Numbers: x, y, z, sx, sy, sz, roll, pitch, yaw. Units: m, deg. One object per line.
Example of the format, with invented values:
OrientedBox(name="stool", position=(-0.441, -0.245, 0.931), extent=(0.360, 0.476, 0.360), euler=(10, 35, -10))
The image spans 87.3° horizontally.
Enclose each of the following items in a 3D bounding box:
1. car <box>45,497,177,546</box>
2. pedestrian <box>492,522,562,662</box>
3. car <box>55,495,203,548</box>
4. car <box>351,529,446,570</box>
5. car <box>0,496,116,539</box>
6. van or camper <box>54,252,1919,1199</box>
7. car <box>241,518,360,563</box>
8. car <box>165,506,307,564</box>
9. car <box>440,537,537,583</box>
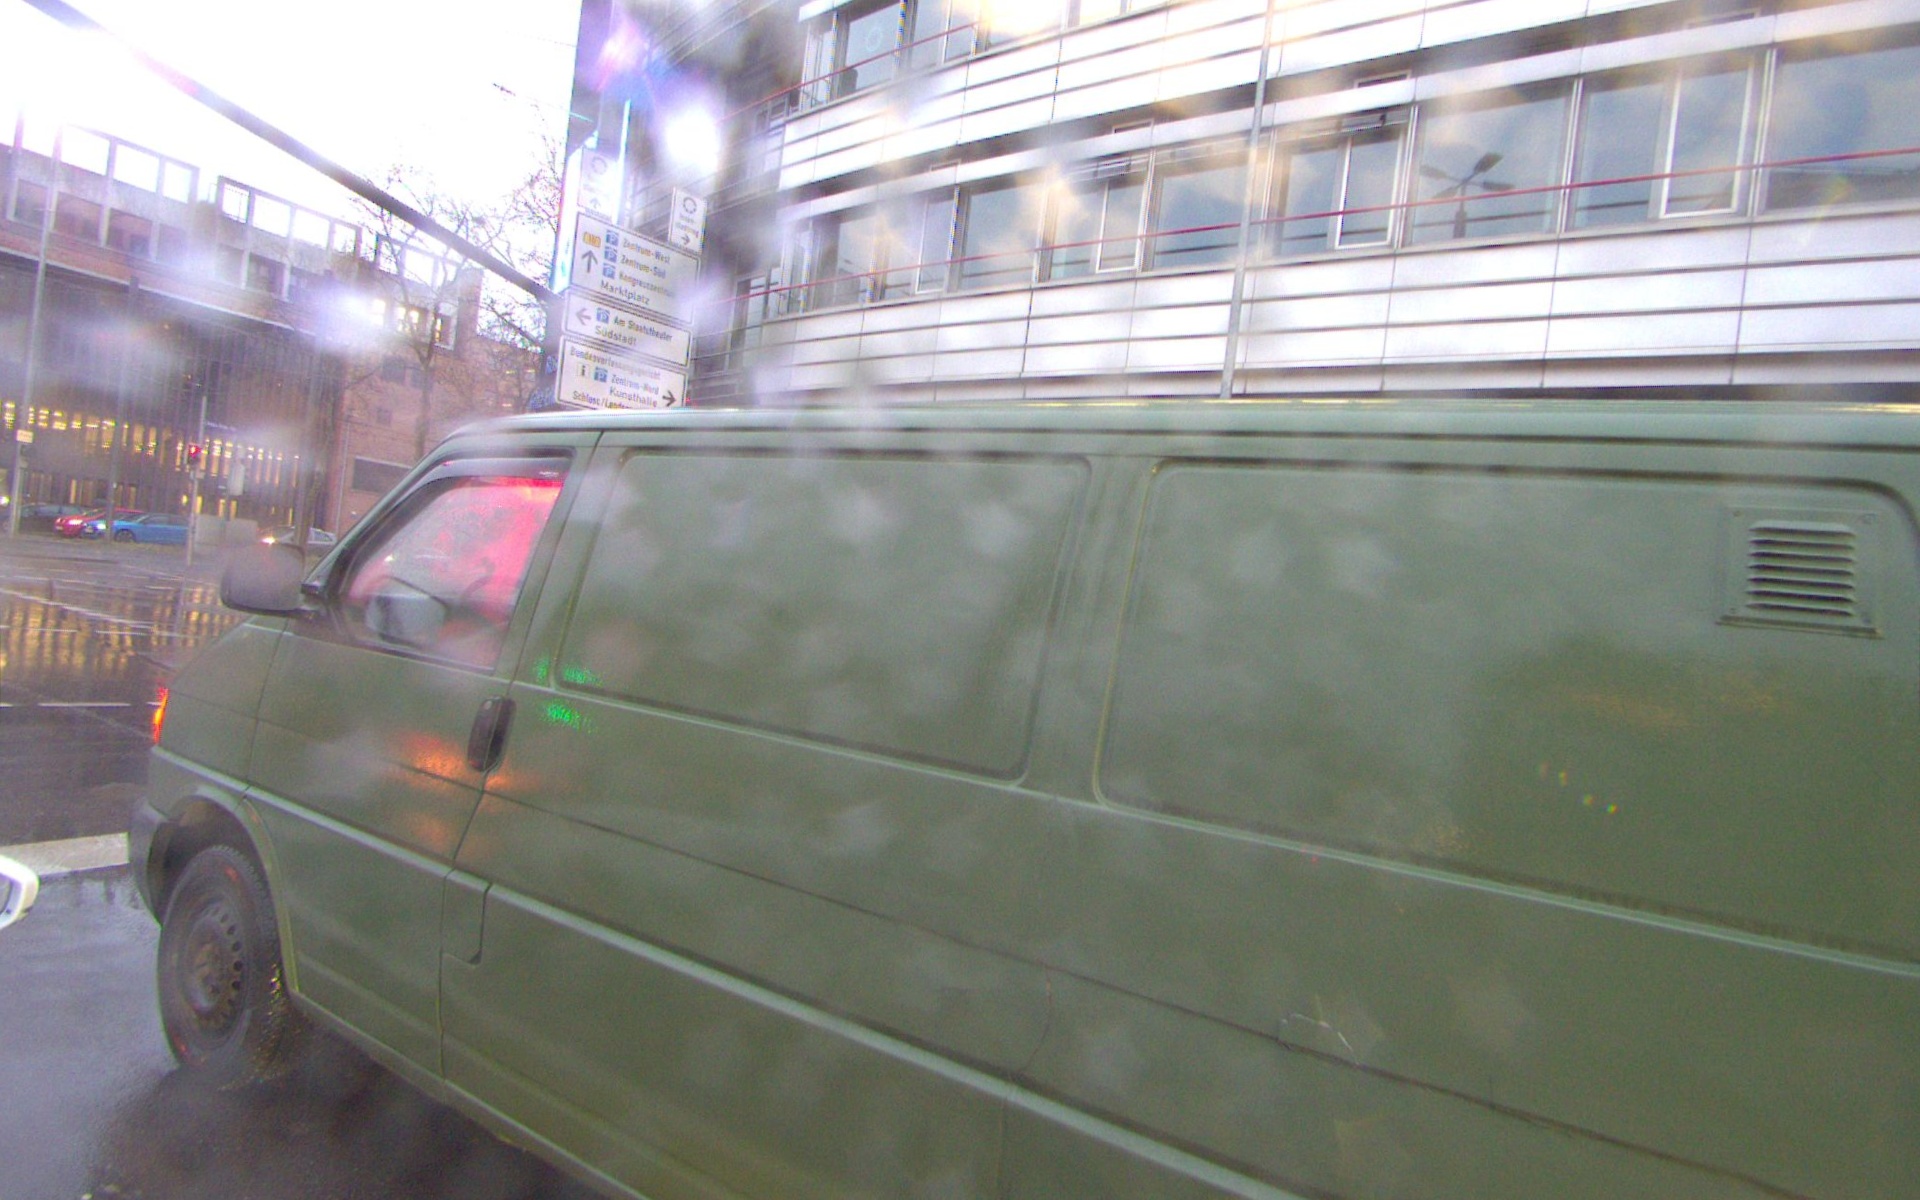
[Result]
OrientedBox(name="car", position=(-35.472, -3.250, 42.108), extent=(1.814, 1.278, 3.729), euler=(11, 1, 26))
OrientedBox(name="pedestrian", position=(-7.103, -0.125, 16.508), extent=(0.609, 2.210, 0.576), euler=(6, 0, 26))
OrientedBox(name="car", position=(-32.429, -3.034, 39.390), extent=(1.814, 1.278, 3.997), euler=(11, 1, 26))
OrientedBox(name="car", position=(-30.157, -2.703, 54.138), extent=(1.814, 1.523, 3.997), euler=(11, 1, 26))
OrientedBox(name="car", position=(-39.199, -3.564, 43.215), extent=(1.965, 1.326, 3.994), euler=(7, 0, 28))
OrientedBox(name="van or camper", position=(-0.319, 0.539, 2.635), extent=(4.345, 1.929, 1.760), euler=(7, -1, 32))
OrientedBox(name="car", position=(-29.625, -2.662, 45.312), extent=(1.814, 1.304, 3.997), euler=(11, 1, 26))
OrientedBox(name="car", position=(-28.292, -2.511, 39.448), extent=(1.814, 1.523, 3.997), euler=(11, 1, 26))
OrientedBox(name="car", position=(-23.552, -1.986, 50.414), extent=(1.814, 1.621, 3.997), euler=(11, 1, 26))
